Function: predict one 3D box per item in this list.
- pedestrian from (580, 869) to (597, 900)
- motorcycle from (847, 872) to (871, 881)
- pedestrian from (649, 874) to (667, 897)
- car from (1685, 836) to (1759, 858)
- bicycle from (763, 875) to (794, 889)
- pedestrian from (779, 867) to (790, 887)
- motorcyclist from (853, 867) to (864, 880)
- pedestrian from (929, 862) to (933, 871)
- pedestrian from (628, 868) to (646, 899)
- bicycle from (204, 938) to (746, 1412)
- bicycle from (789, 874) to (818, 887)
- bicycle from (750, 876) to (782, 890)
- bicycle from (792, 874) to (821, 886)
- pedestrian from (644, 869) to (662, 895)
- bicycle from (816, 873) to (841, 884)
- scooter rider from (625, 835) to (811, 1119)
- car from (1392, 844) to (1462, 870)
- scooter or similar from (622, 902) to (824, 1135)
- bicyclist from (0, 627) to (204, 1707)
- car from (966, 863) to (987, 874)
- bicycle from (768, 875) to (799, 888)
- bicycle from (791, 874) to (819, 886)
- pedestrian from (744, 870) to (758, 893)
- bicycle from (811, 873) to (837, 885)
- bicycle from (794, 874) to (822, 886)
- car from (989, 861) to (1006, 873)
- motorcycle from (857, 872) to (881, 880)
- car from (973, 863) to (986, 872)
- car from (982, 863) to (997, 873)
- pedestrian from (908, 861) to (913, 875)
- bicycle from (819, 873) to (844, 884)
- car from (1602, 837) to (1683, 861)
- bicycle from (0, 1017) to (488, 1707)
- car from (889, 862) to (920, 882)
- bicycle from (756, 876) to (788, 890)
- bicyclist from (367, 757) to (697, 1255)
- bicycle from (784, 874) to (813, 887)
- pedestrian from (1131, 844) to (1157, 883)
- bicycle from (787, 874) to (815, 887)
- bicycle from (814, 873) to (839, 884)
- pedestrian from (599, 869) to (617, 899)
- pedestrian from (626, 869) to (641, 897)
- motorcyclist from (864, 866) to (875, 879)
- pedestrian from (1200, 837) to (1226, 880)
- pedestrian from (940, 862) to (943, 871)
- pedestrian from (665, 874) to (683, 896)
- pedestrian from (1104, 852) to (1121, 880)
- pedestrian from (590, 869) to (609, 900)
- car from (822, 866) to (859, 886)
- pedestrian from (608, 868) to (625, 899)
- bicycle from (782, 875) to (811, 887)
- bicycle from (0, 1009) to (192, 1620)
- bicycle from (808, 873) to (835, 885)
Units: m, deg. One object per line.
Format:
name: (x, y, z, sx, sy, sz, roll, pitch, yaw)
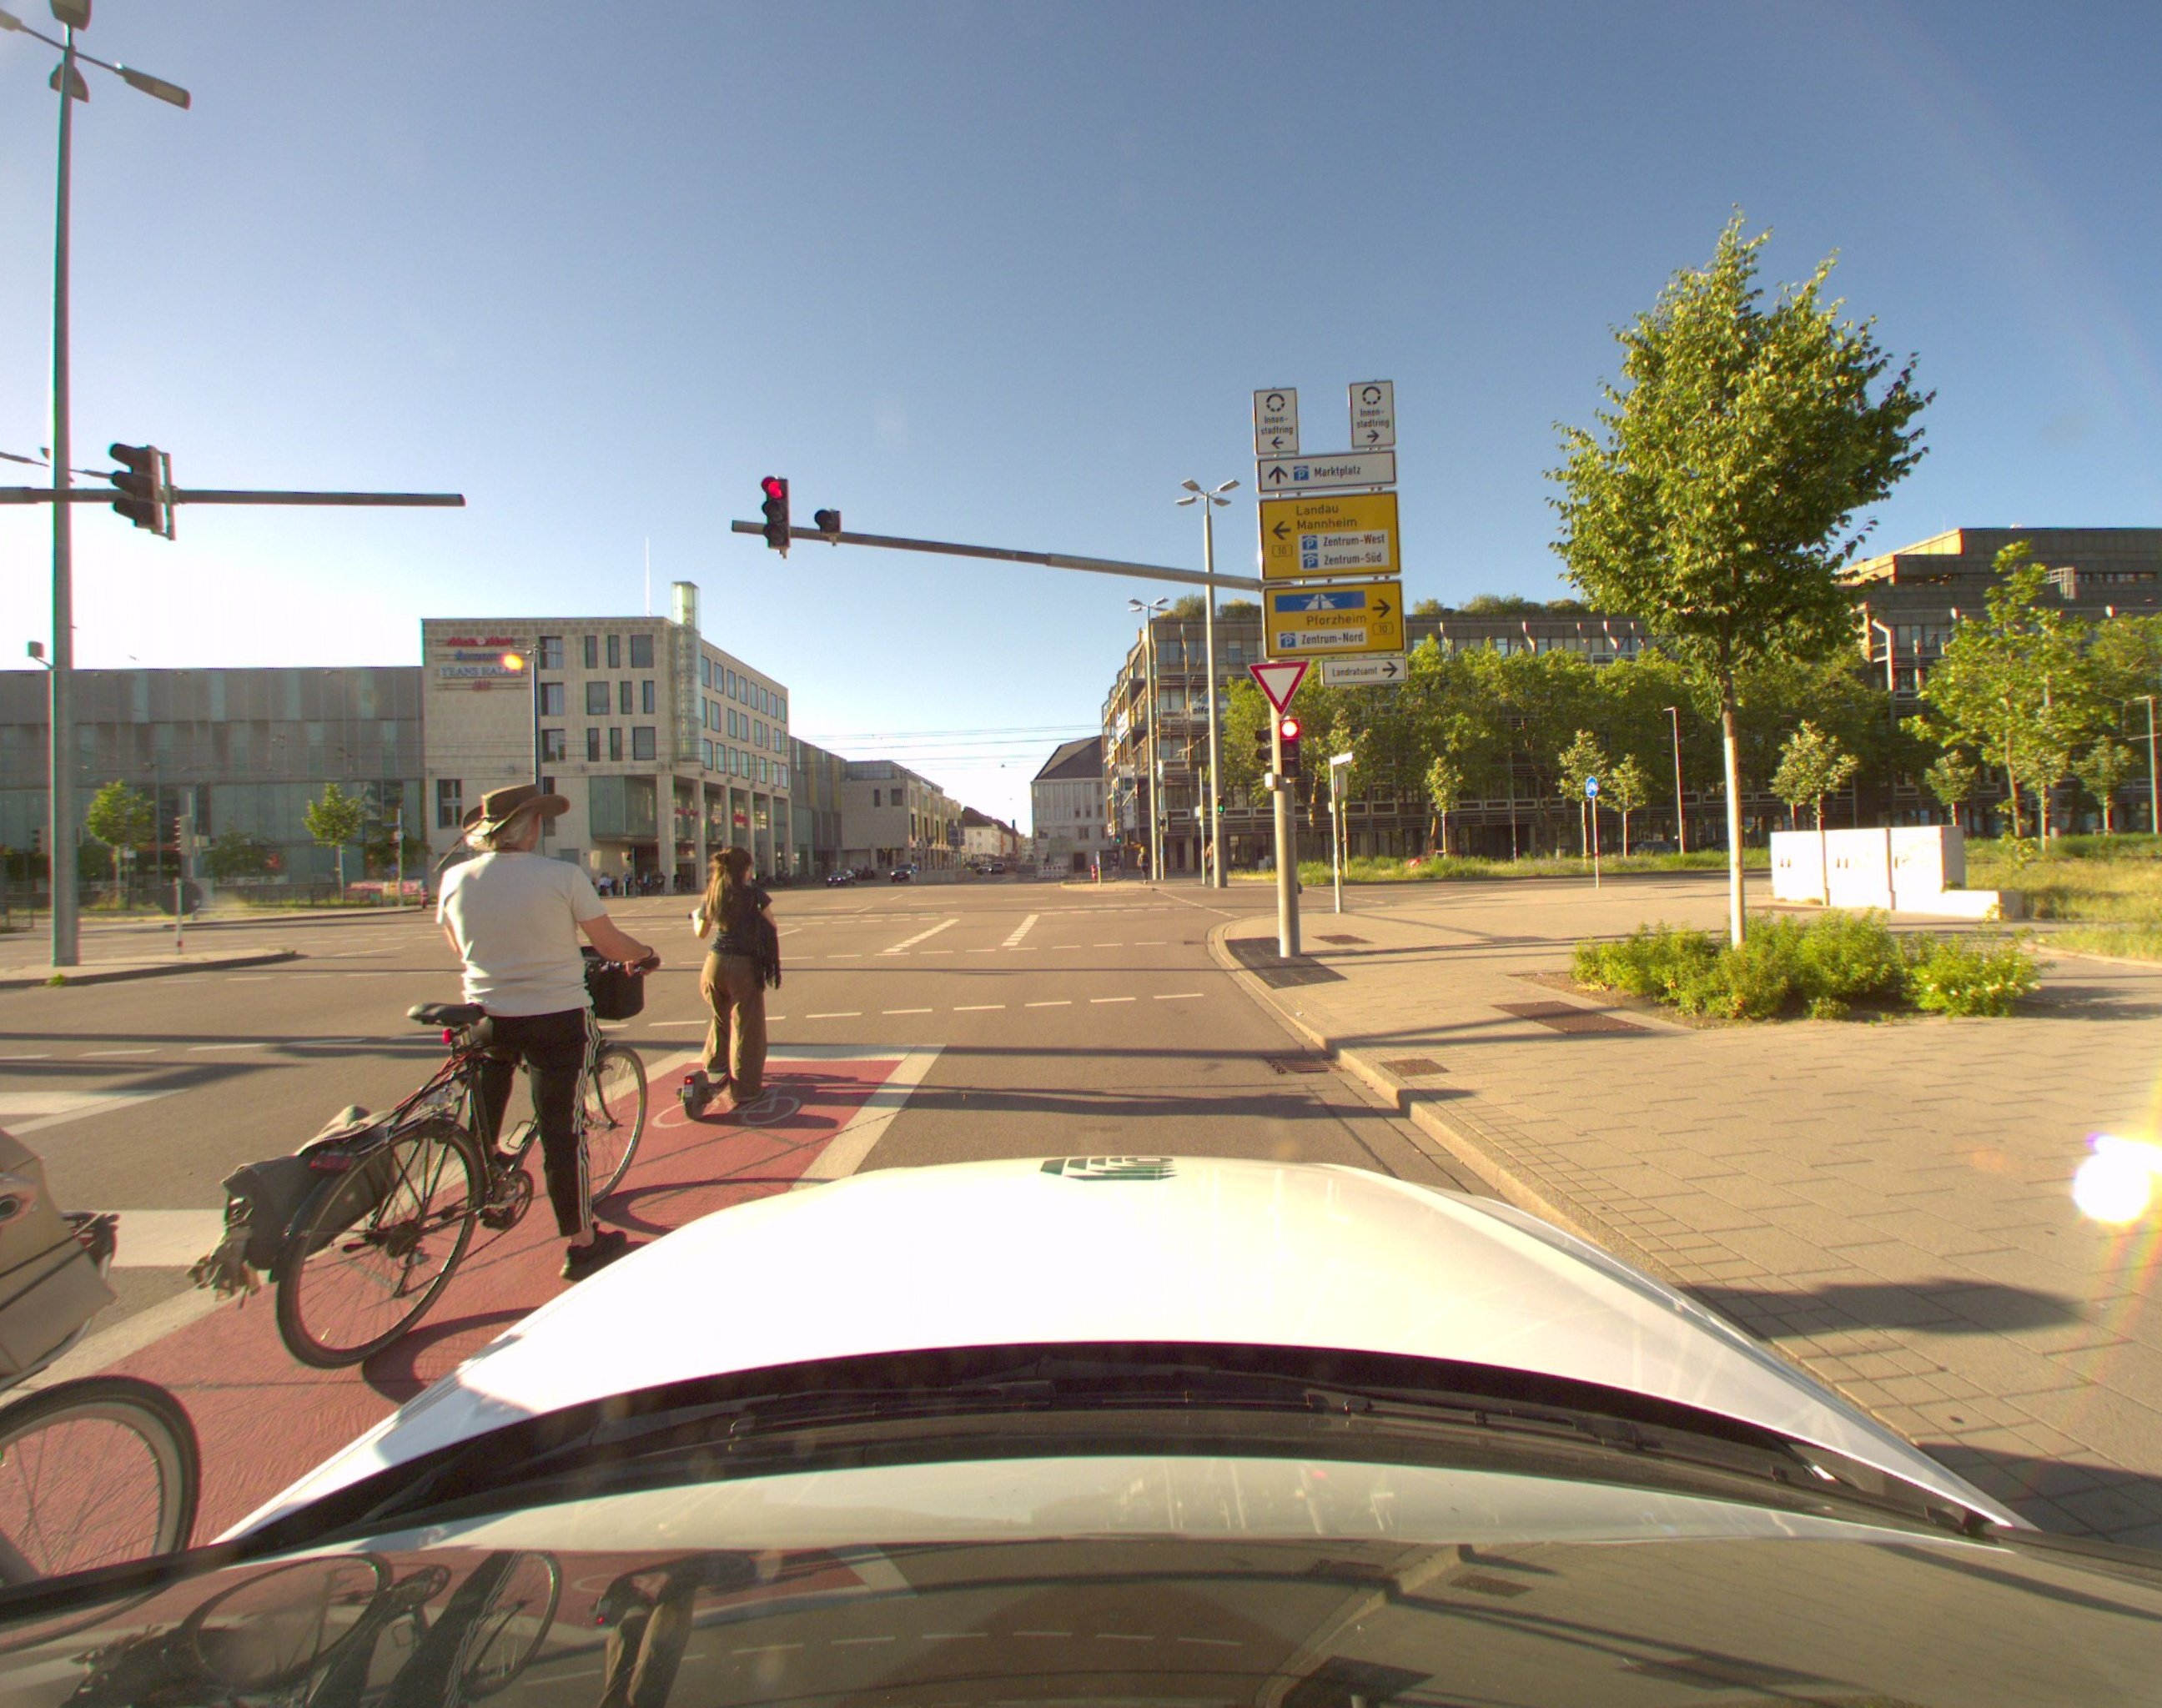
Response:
pedestrian: (-35.313, 2.172, 58.422, 0.900, 2.124, 0.939, -1, -1, -25)
motorcycle: (-25.921, 2.658, 95.149, 2.664, 0.996, 0.914, 0, -1, -6)
pedestrian: (-30.895, 2.305, 59.427, 1.012, 1.651, 0.938, -1, -1, -38)
car: (47.921, -0.507, 60.955, 3.976, 1.521, 1.999, -2, 0, -2)
bicycle: (-26.735, 2.492, 72.076, 2.457, 1.111, 0.685, -2, 0, 4)
pedestrian: (-30.275, 2.335, 83.206, 0.949, 1.982, 1.000, -1, -1, -23)
motorcyclist: (-26.005, 2.260, 95.134, 1.035, 1.471, 0.914, 0, -1, -5)
pedestrian: (-23.552, 2.006, 128.048, 0.487, 1.356, 0.563, 0, -1, -4)
pedestrian: (-31.623, 2.070, 57.972, 1.066, 2.129, 1.087, -1, -1, -30)
bicycle: (-2.035, 0.972, 3.138, 0.704, 1.094, 1.800, -2, 0, 0)
bicycle: (-26.661, 2.536, 78.238, 2.458, 1.111, 0.684, -2, 0, 2)
bicycle: (-26.838, 2.485, 69.365, 2.394, 1.113, 0.658, -2, 0, 1)
bicycle: (-26.649, 2.542, 79.103, 2.458, 1.111, 0.835, -2, 0, 2)
pedestrian: (-33.282, 2.164, 63.326, 0.914, 2.014, 1.020, -2, -1, -10)
bicycle: (-26.918, 2.621, 86.802, 2.458, 1.111, 0.631, -2, 0, 2)
scooter rider: (-2.171, 0.671, 5.012, 0.640, 1.544, 1.116, -1, 0, -1)
car: (23.113, 0.235, 54.505, 3.860, 1.486, 1.843, -2, -3, -4)
scooter or similar: (-2.183, 0.938, 5.179, 0.640, 1.175, 1.483, -1, 0, -1)
bicyclist: (-1.699, 0.489, 0.827, 0.648, 1.543, 0.847, -2, 0, 1)
car: (-15.784, 2.196, 123.209, 2.166, 1.692, 5.488, -2, -1, 1)
bicycle: (-26.615, 2.476, 72.883, 2.458, 1.111, 0.684, -2, 0, 2)
bicycle: (-27.144, 2.559, 80.029, 2.458, 1.111, 0.684, -2, 0, 2)
pedestrian: (-25.444, 2.100, 62.740, 0.748, 1.740, 0.756, -2, -1, -1)
bicycle: (-26.978, 2.597, 85.433, 2.458, 1.111, 0.661, -2, 0, 2)
bicycle: (-27.199, 2.570, 81.282, 2.458, 1.111, 0.835, -2, 0, 2)
car: (-11.102, 1.770, 108.798, 1.931, 1.450, 4.259, -2, -1, -2)
motorcycle: (-25.629, 2.684, 98.593, 2.664, 0.996, 0.914, 0, -1, -6)
car: (-21.594, 2.826, 173.494, 2.168, 1.873, 5.610, -2, -1, -2)
car: (-16.476, 2.480, 147.112, 2.168, 1.692, 5.612, -2, -1, -1)
pedestrian: (-24.562, 2.008, 117.255, 0.616, 2.014, 0.476, 0, -1, -13)
bicycle: (-26.960, 2.621, 88.089, 2.458, 1.111, 0.661, -2, 0, 2)
car: (41.773, -0.382, 60.610, 4.848, 1.680, 1.995, -2, 1, -7)
bicycle: (-1.688, 0.923, 0.933, 0.648, 1.094, 1.800, -2, 0, 1)
car: (-15.841, 1.590, 73.185, 1.933, 1.677, 4.290, -2, -1, -3)
bicycle: (-26.820, 2.485, 70.712, 2.458, 1.111, 0.684, -2, 0, 2)
bicyclist: (-2.055, 0.515, 3.167, 0.697, 1.669, 0.786, -2, 0, 0)
bicycle: (-26.642, 2.530, 76.821, 2.458, 1.111, 0.538, -2, 0, 2)
pedestrian: (2.616, 0.371, 33.751, 0.894, 1.549, 0.922, -2, 1, -5)
bicycle: (-26.621, 2.536, 77.461, 2.458, 1.111, 0.684, -2, 0, 2)
bicycle: (-26.925, 2.608, 86.156, 2.458, 1.111, 0.661, -2, 0, 2)
pedestrian: (-34.177, 2.167, 58.847, 0.898, 2.124, 0.941, -1, -1, -19)
pedestrian: (-32.673, 2.129, 59.465, 0.920, 2.014, 1.014, -1, -1, -30)
motorcyclist: (-25.608, 2.258, 98.613, 1.135, 1.575, 0.914, 0, -1, -5)
pedestrian: (5.456, 0.191, 33.657, 0.854, 1.744, 0.737, -2, 0, -7)
pedestrian: (-22.275, 2.012, 129.861, 0.487, 1.356, 0.563, 0, -1, -4)
pedestrian: (-29.221, 2.211, 58.438, 0.950, 1.571, 0.832, -1, -1, -38)
pedestrian: (2.227, 0.855, 57.447, 1.006, 1.911, 1.053, -2, 0, 7)
pedestrian: (-33.925, 2.114, 57.372, 0.897, 2.124, 0.941, -2, -1, -16)
car: (-20.825, 1.889, 70.696, 1.931, 1.581, 4.293, -2, 0, 0)
pedestrian: (-32.498, 2.078, 56.972, 0.902, 2.124, 0.937, -1, -1, -35)
bicycle: (-26.650, 2.526, 76.235, 2.458, 1.111, 0.594, -2, 0, 2)
bicycle: (-2.427, 0.932, 1.005, 0.621, 1.116, 1.816, -2, 0, 1)
bicycle: (-26.999, 2.600, 84.640, 2.458, 1.111, 0.835, -2, 0, 2)
